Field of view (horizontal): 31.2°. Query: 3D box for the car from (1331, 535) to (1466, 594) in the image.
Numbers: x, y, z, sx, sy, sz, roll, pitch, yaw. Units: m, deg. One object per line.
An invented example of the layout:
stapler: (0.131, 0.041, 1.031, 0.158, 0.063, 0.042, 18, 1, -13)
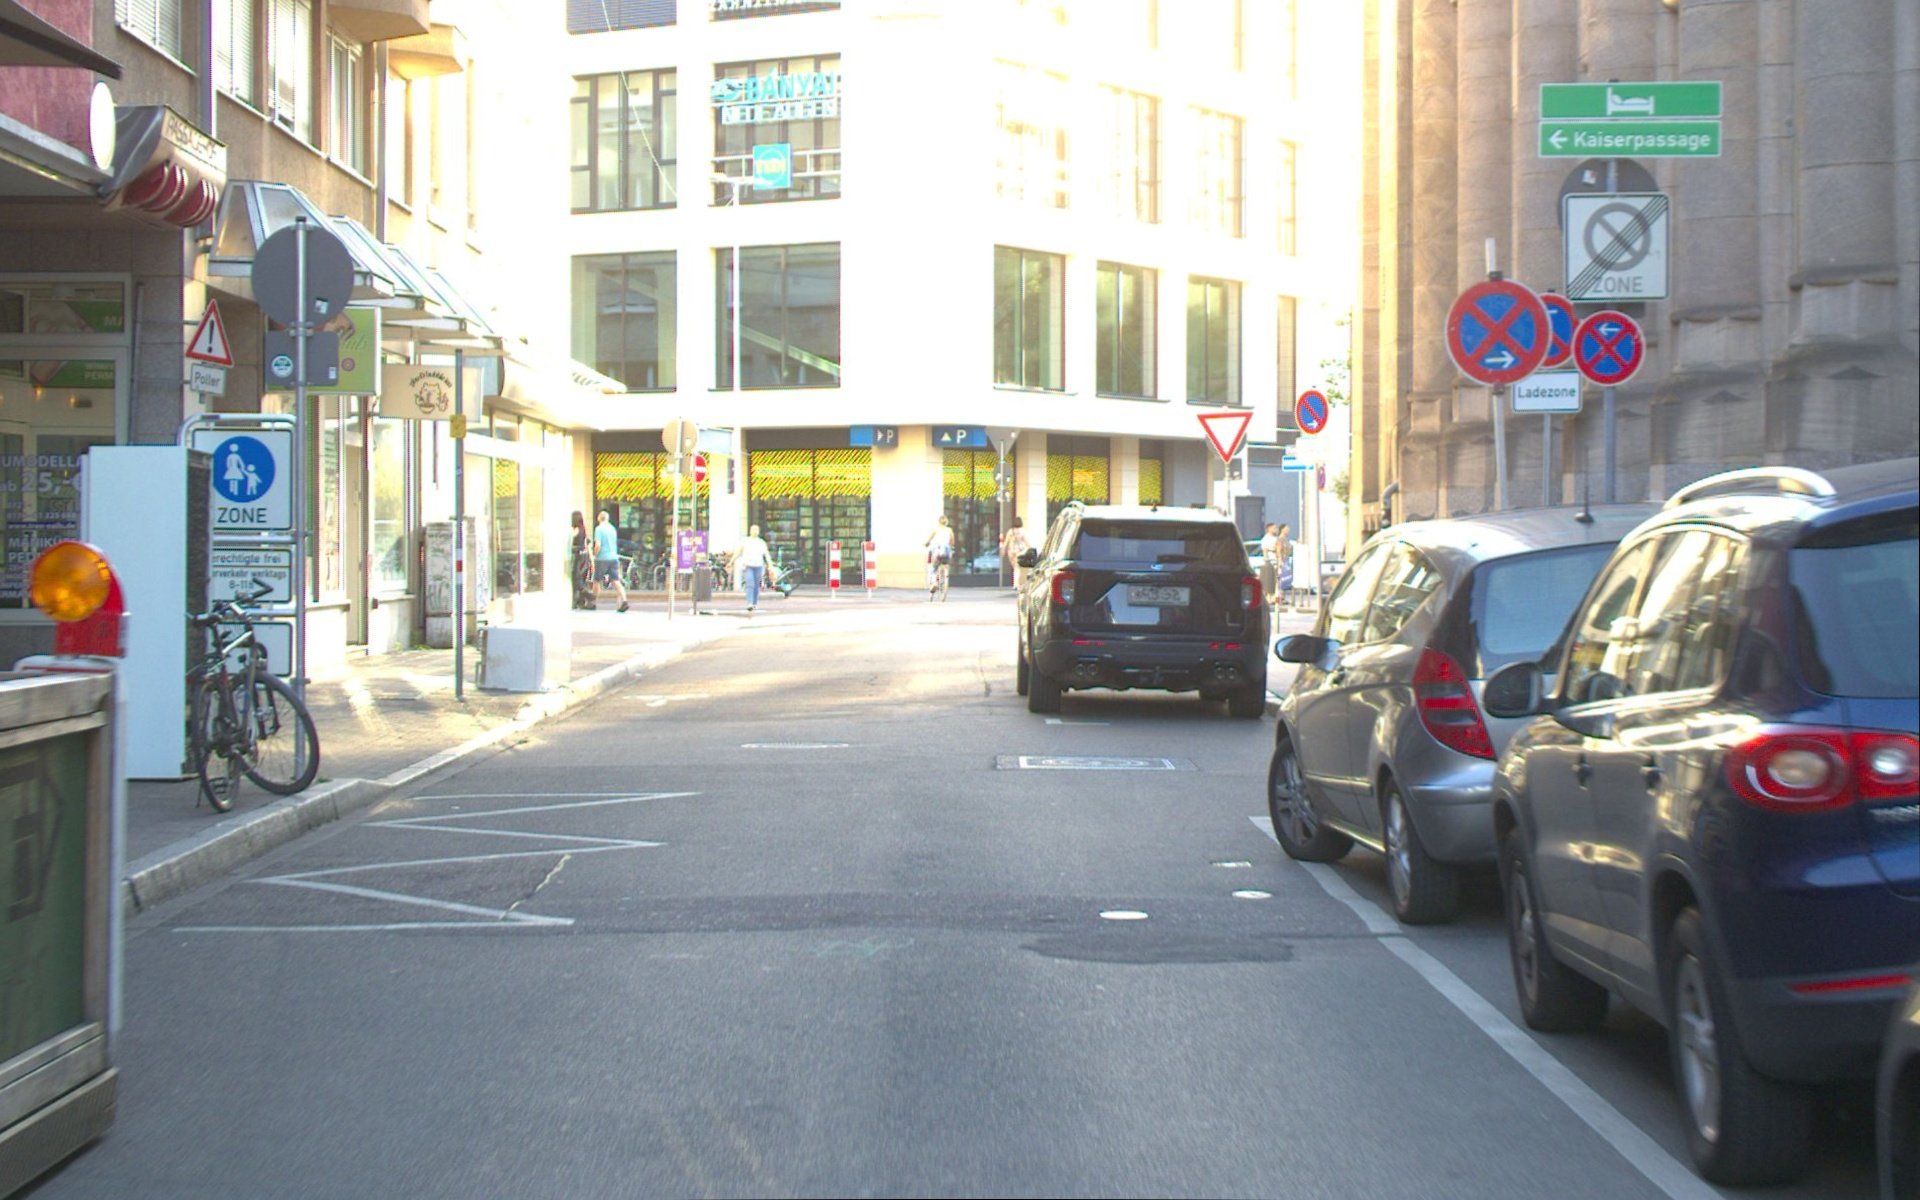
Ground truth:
car: (12.233, -1.016, 95.623, 1.887, 1.592, 4.680, 1, 1, 33)

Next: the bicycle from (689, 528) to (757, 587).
bicycle: (-5.116, -0.907, 74.227, 0.512, 1.250, 1.976, 1, 1, 27)

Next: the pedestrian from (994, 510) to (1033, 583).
pedestrian: (1.274, -1.273, 81.851, 0.673, 1.738, 0.646, 1, 1, 31)

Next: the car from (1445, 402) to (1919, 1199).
car: (2.452, 0.464, 9.279, 1.670, 1.800, 4.240, 1, 1, 0)

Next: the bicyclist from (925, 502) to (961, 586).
bicyclist: (-0.351, -1.135, 69.726, 0.682, 1.689, 0.644, 0, 1, -4)

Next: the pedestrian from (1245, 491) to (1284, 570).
pedestrian: (6.529, -1.496, 73.674, 0.704, 1.664, 0.642, 1, 2, 17)

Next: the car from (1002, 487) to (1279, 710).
car: (1.472, -0.063, 29.963, 1.993, 1.777, 4.935, 0, 1, -2)

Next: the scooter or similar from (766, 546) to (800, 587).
scooter or similar: (-3.880, -0.731, 75.250, 0.387, 0.881, 0.769, 1, 1, 29)

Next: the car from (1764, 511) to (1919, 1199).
car: (2.383, 0.654, 3.941, 1.690, 1.511, 4.991, 1, 1, -1)

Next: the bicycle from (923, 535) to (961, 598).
bicycle: (-0.377, -0.678, 69.999, 0.610, 1.250, 1.979, 1, 1, -5)

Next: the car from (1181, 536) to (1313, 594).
car: (7.378, -0.918, 88.161, 1.780, 1.448, 4.224, 1, 1, 29)

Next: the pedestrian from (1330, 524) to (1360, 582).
pedestrian: (11.132, -1.353, 99.375, 0.673, 1.669, 0.646, 1, 1, 28)

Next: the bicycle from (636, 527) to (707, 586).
bicycle: (-6.277, -0.942, 74.974, 0.512, 1.250, 1.976, 1, 1, 29)

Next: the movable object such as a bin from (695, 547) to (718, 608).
movable object such as a bin: (-4.487, -0.398, 60.819, 0.359, 1.060, 0.356, 0, 1, -11)

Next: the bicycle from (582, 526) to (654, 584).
bicycle: (-7.525, -0.986, 75.680, 0.512, 1.250, 1.976, 1, 1, 29)

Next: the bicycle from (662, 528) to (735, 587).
bicycle: (-5.667, -0.916, 74.519, 0.512, 1.250, 1.975, 1, 1, 31)

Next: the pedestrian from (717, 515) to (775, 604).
pedestrian: (-3.913, -0.743, 62.869, 0.802, 1.607, 0.735, 0, 1, -29)

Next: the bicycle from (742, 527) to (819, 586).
bicycle: (-3.834, -0.923, 73.640, 0.665, 1.250, 2.137, 1, 1, 27)

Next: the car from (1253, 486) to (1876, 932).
car: (2.432, 0.369, 14.842, 1.773, 1.660, 4.001, 0, 1, -3)

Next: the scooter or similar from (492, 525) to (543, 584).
scooter or similar: (-9.547, -0.977, 74.161, 0.387, 1.256, 1.269, 1, 1, 29)

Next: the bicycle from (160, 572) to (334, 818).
bicycle: (-3.684, 0.461, 17.878, 0.543, 1.188, 1.842, 0, 1, -1)

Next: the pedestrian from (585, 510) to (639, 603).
pedestrian: (-6.034, -0.754, 59.672, 0.732, 1.607, 0.804, 0, 1, 10)

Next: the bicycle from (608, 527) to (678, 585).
bicycle: (-6.944, -0.963, 75.393, 0.512, 1.250, 1.976, 1, 1, 28)

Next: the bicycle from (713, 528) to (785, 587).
bicycle: (-4.532, -0.905, 73.965, 0.582, 1.250, 2.041, 1, 1, 27)

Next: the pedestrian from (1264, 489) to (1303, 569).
pedestrian: (6.846, -1.505, 72.701, 0.704, 1.664, 0.642, 1, 2, 17)

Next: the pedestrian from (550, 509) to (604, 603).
pedestrian: (-6.551, -0.754, 58.815, 0.732, 1.607, 0.805, 0, 1, 8)
